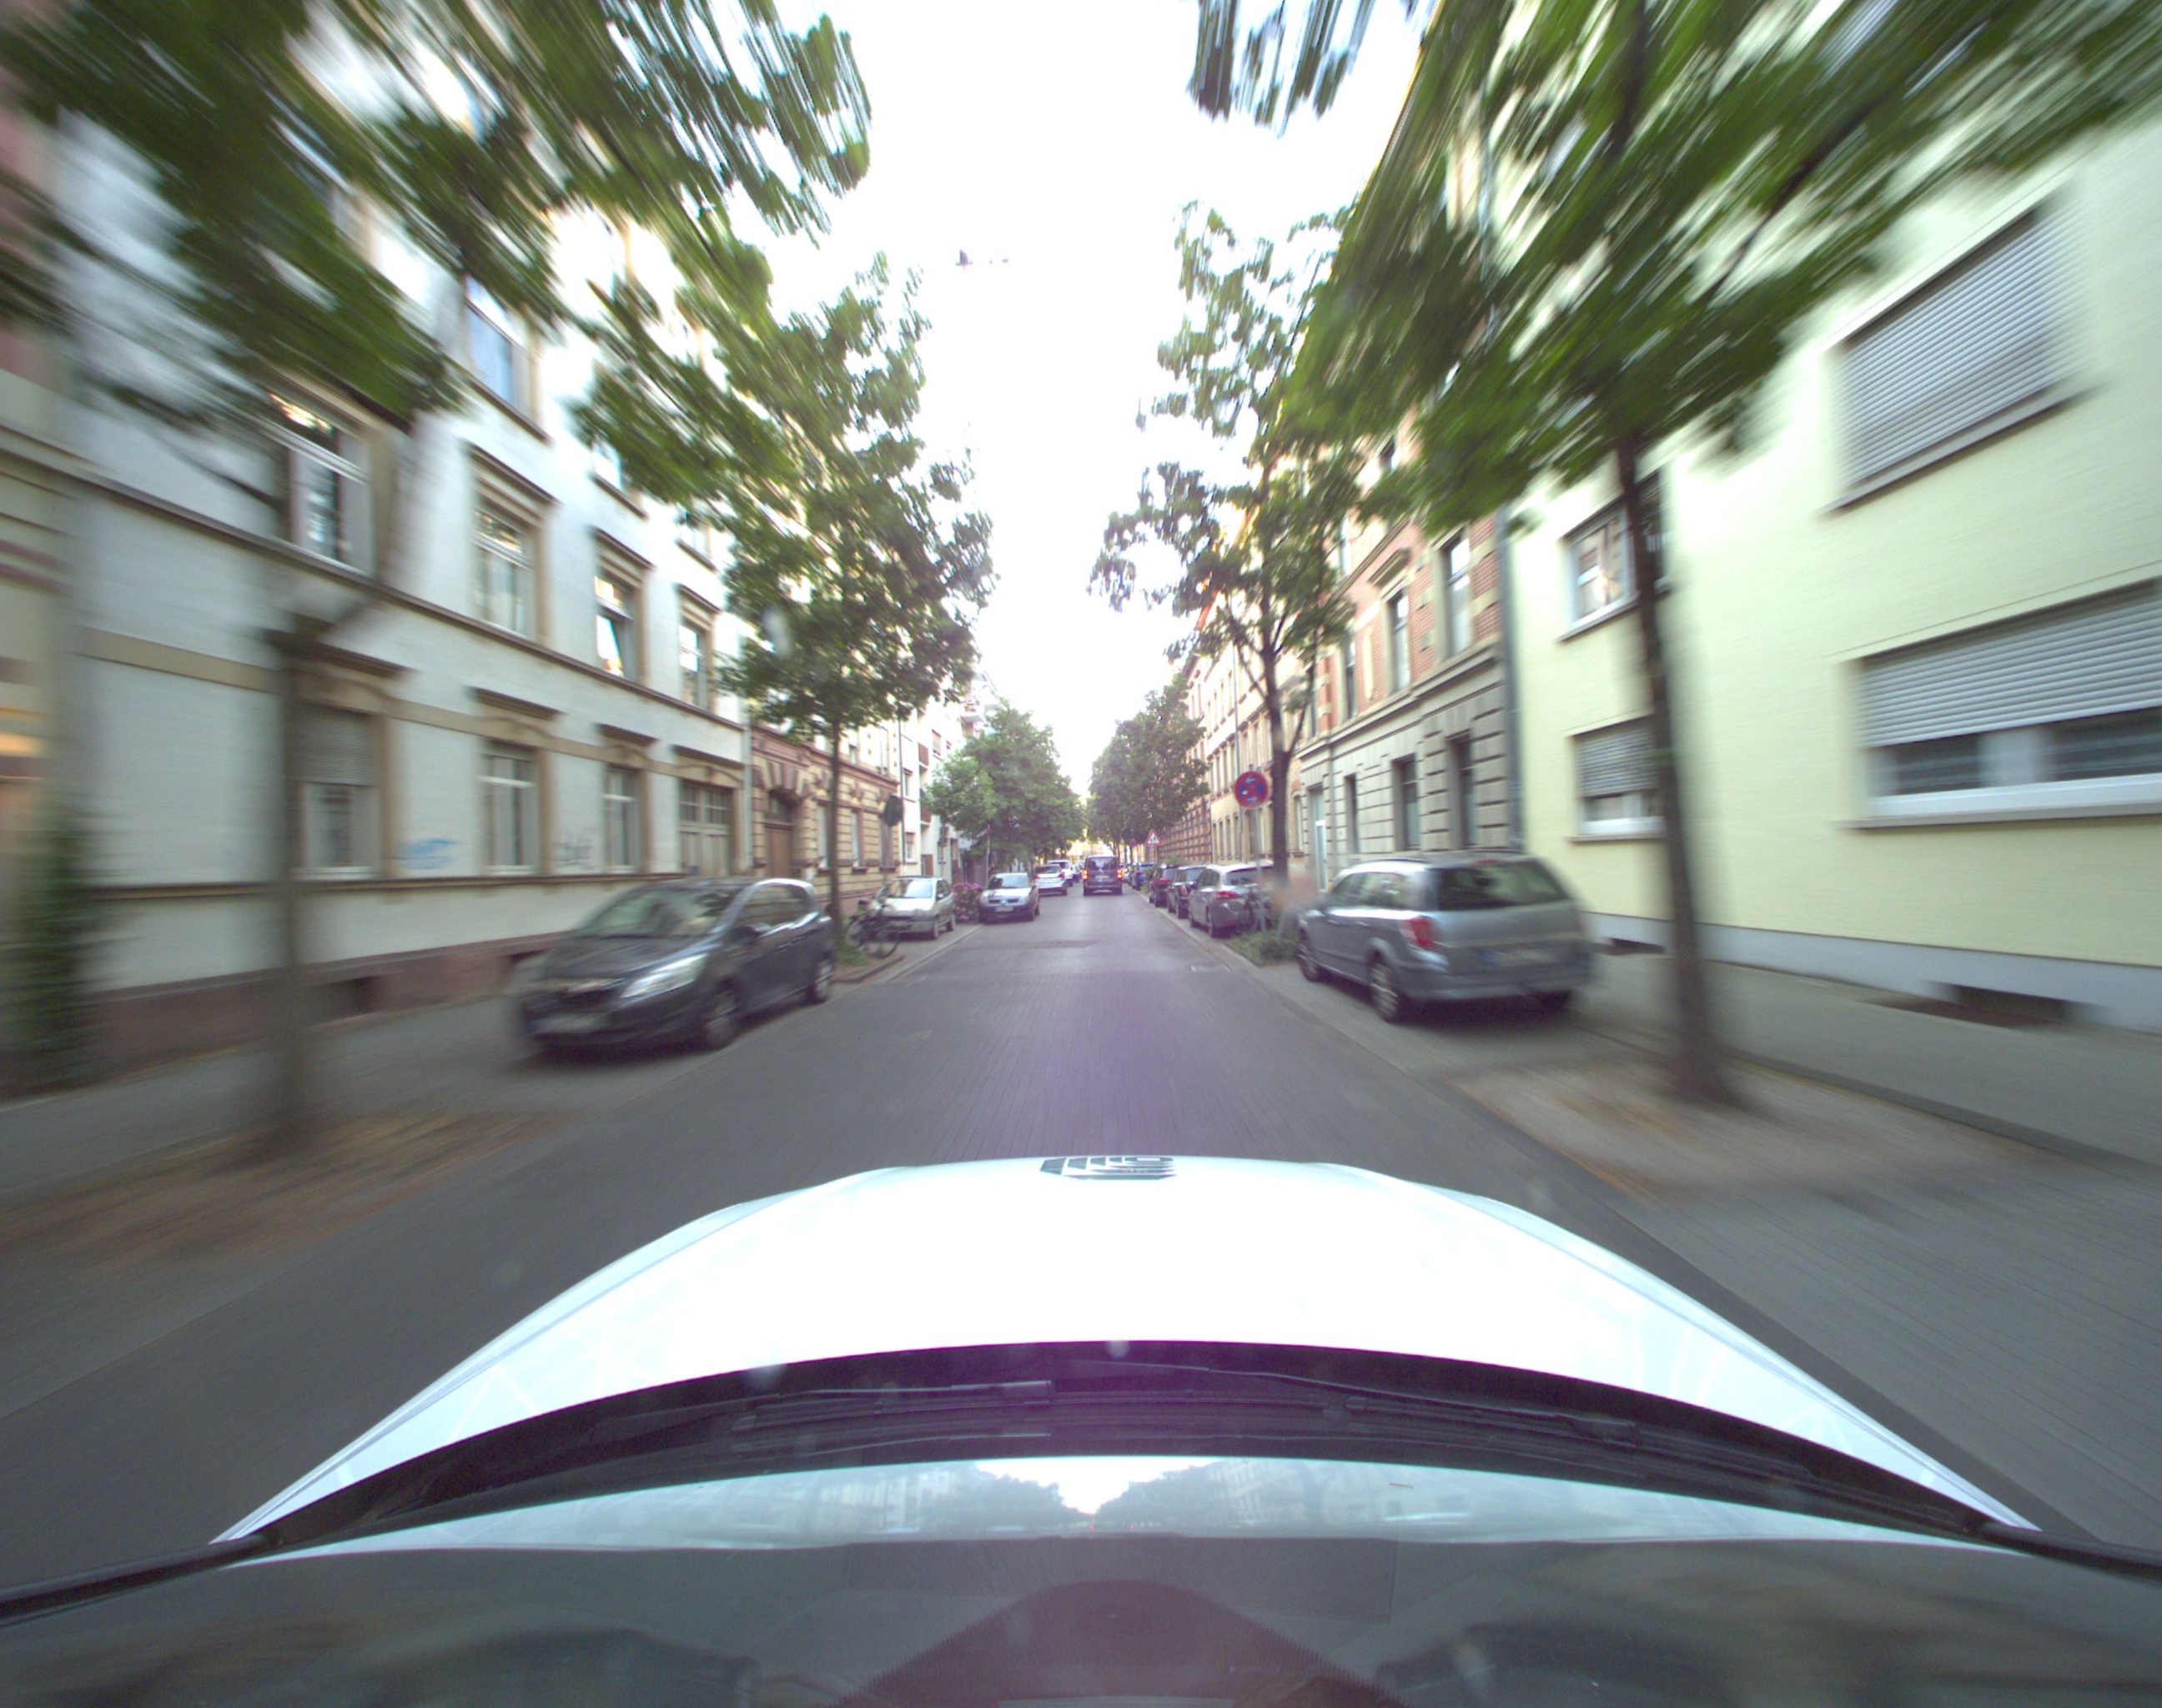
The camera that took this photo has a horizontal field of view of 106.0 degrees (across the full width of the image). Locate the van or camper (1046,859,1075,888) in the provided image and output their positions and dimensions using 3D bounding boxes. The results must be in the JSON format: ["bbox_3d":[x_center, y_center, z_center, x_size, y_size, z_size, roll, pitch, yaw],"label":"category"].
[{"bbox_3d":[-1.409,1.335,57.231,1.871,1.843,4.751,-3,-1,-1],"label":"van or camper"}]

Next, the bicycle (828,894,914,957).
[{"bbox_3d":[-3.891,1.291,15.031,1.805,1.085,0.672,-3,-2,44],"label":"bicycle"}]

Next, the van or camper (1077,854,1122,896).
[{"bbox_3d":[0.972,0.989,40.125,2.027,1.897,4.274,-2,-1,3],"label":"van or camper"}]

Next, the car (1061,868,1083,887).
[{"bbox_3d":[-0.782,2.035,71.678,1.824,1.517,4.515,-3,-1,0],"label":"car"}]

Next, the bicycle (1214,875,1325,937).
[{"bbox_3d":[3.474,0.935,14.974,1.922,0.982,0.634,-2,-1,-21],"label":"bicycle"}]

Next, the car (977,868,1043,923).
[{"bbox_3d":[-2.093,1.206,24.886,1.575,1.420,3.753,-3,-1,1],"label":"car"}]

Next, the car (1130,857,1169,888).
[{"bbox_3d":[3.672,0.975,44.068,1.623,1.466,4.243,-3,-1,-1],"label":"car"}]

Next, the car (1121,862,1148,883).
[{"bbox_3d":[3.965,1.373,60.838,1.688,1.401,4.646,-4,-1,0],"label":"car"}]

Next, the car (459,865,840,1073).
[{"bbox_3d":[-4.054,0.951,8.541,1.700,1.581,4.079,-1,0,2],"label":"car"}]

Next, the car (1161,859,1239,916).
[{"bbox_3d":[3.357,0.903,23.486,1.630,1.424,3.563,-4,-1,0],"label":"car"}]

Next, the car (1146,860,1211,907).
[{"bbox_3d":[3.345,0.979,28.677,1.760,1.415,4.475,-5,-1,1],"label":"car"}]

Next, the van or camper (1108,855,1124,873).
[{"bbox_3d":[5.121,1.451,120.097,1.987,2.599,5.422,-2,-1,0],"label":"van or camper"}]

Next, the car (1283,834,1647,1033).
[{"bbox_3d":[3.565,0.640,8.581,1.753,1.463,4.307,-3,0,0],"label":"car"}]

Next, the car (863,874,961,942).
[{"bbox_3d":[-4.012,1.235,19.838,1.582,1.437,3.566,-1,-1,1],"label":"car"}]

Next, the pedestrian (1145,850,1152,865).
[{"bbox_3d":[7.234,0.362,87.208,0.625,1.648,0.532,-2,-1,1],"label":"pedestrian"}]

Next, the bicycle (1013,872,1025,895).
[{"bbox_3d":[-3.226,1.524,42.385,0.418,1.103,1.665,-2,-1,0],"label":"bicycle"}]

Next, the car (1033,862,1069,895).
[{"bbox_3d":[-1.538,1.231,41.968,1.659,1.563,3.996,-3,-1,-2],"label":"car"}]

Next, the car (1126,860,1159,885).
[{"bbox_3d":[3.819,1.128,50.942,1.706,1.478,4.192,-3,-1,0],"label":"car"}]

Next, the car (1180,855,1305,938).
[{"bbox_3d":[3.380,0.836,17.876,1.712,1.476,4.366,-4,0,-1],"label":"car"}]
